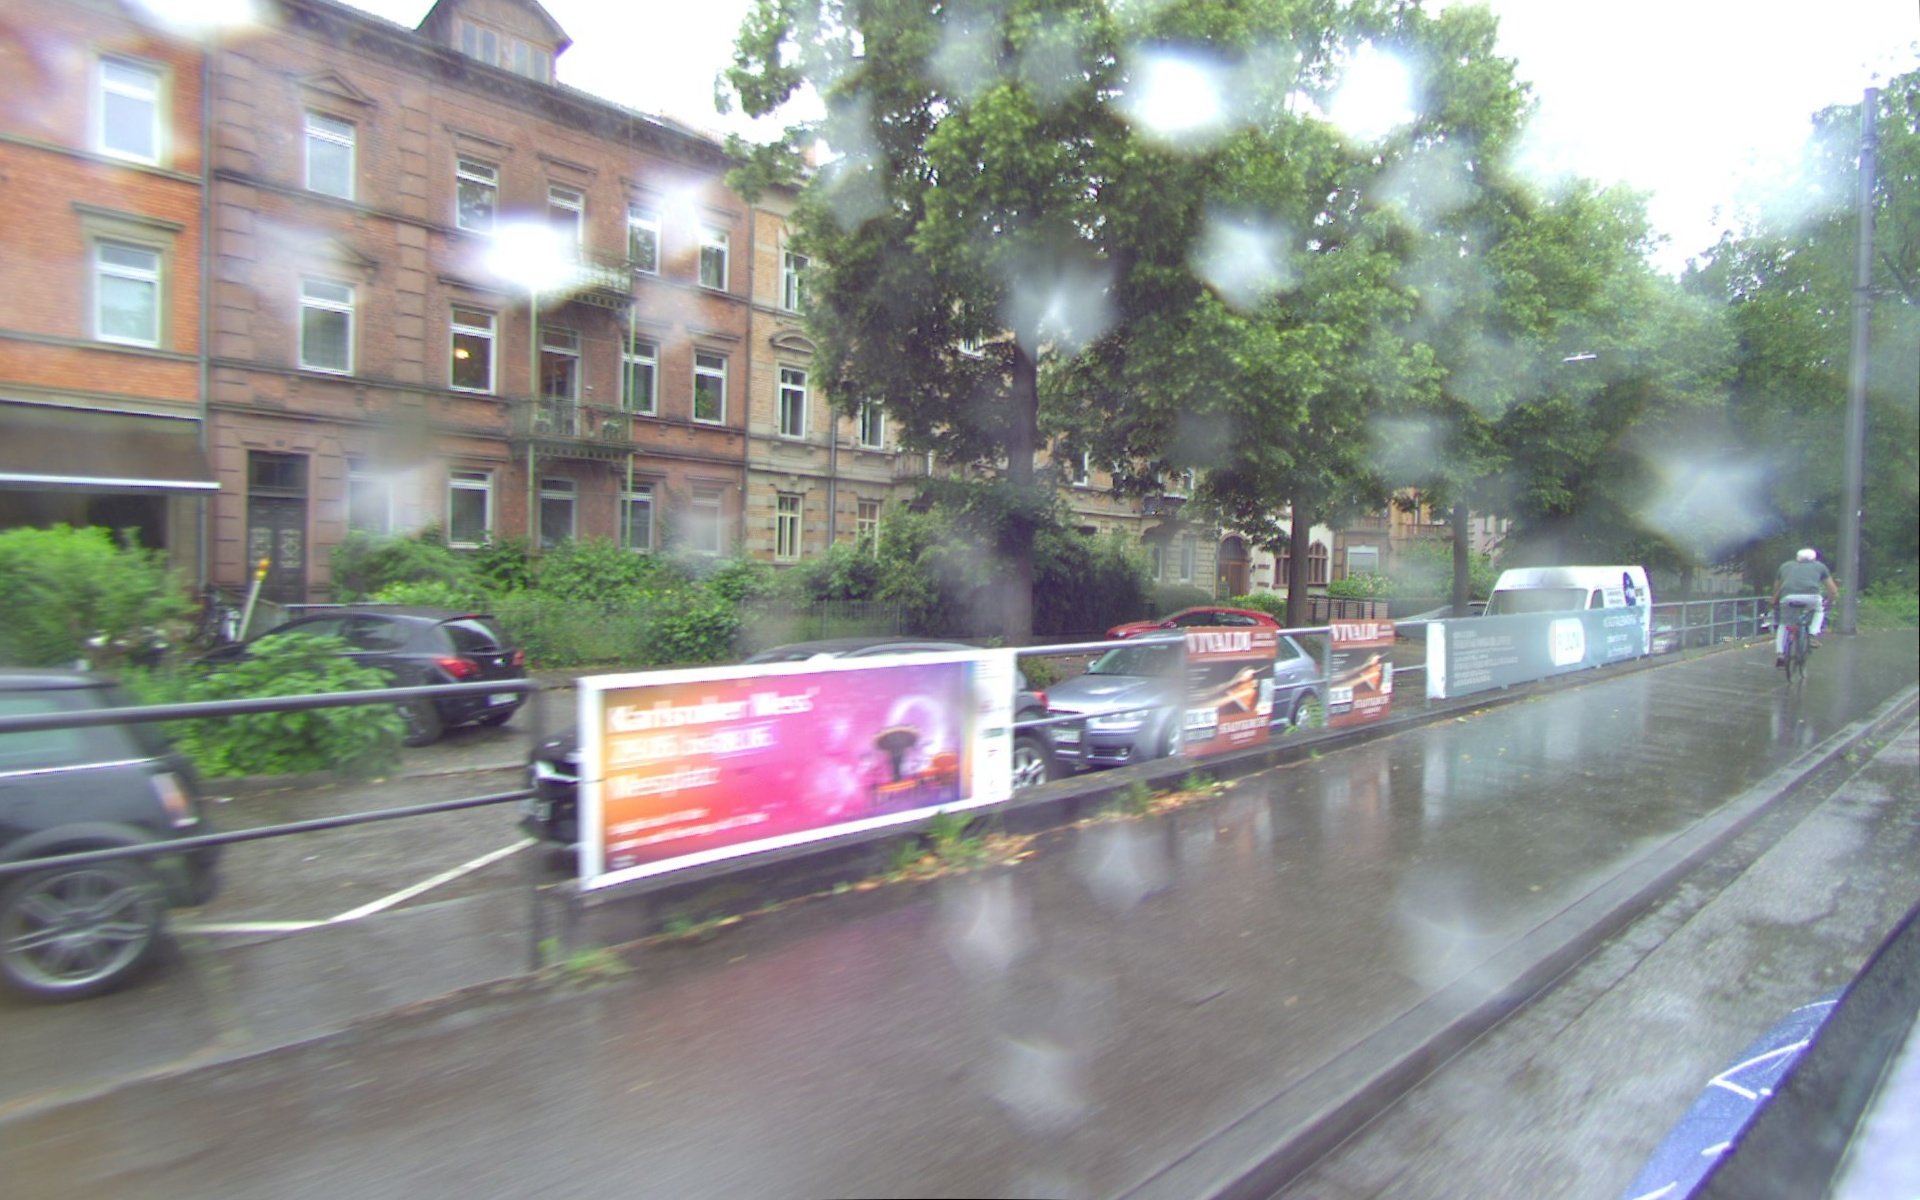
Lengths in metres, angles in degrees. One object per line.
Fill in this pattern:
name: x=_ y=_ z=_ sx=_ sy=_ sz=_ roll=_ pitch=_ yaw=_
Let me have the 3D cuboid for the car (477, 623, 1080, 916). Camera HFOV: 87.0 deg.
car: x=-1.149 y=0.972 z=7.571 sx=4.143 sy=1.482 sz=1.749 roll=0 pitch=1 yaw=-41

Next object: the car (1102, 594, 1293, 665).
car: x=5.604 y=0.636 z=23.894 sx=4.229 sy=1.488 sz=1.700 roll=1 pitch=1 yaw=18

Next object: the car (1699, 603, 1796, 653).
car: x=24.663 y=0.828 z=31.663 sx=3.931 sy=1.389 sz=1.702 roll=-1 pitch=1 yaw=-41

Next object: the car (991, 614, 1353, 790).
car: x=2.446 y=0.939 z=11.073 sx=4.142 sy=1.488 sz=1.730 roll=0 pitch=1 yaw=-41

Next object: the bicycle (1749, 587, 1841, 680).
bicycle: x=10.839 y=0.397 z=13.108 sx=0.738 sy=1.086 sz=1.836 roll=3 pitch=2 yaw=44

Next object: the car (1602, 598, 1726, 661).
car: x=17.907 y=0.682 z=25.682 sx=4.143 sy=1.365 sz=1.629 roll=-2 pitch=2 yaw=-41

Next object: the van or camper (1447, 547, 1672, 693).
van or camper: x=12.599 y=0.330 z=21.055 sx=5.992 sy=2.623 sz=2.330 roll=0 pitch=1 yaw=-42

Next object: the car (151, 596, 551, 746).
car: x=-7.214 y=0.751 z=12.138 sx=3.939 sy=1.527 sz=1.854 roll=1 pitch=1 yaw=13

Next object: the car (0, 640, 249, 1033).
car: x=-5.134 y=1.003 z=4.219 sx=3.453 sy=1.519 sz=1.650 roll=0 pitch=0 yaw=-39

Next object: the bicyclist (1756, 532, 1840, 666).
bicyclist: x=10.936 y=-0.024 z=13.206 sx=0.736 sy=1.676 sz=0.863 roll=2 pitch=1 yaw=44
